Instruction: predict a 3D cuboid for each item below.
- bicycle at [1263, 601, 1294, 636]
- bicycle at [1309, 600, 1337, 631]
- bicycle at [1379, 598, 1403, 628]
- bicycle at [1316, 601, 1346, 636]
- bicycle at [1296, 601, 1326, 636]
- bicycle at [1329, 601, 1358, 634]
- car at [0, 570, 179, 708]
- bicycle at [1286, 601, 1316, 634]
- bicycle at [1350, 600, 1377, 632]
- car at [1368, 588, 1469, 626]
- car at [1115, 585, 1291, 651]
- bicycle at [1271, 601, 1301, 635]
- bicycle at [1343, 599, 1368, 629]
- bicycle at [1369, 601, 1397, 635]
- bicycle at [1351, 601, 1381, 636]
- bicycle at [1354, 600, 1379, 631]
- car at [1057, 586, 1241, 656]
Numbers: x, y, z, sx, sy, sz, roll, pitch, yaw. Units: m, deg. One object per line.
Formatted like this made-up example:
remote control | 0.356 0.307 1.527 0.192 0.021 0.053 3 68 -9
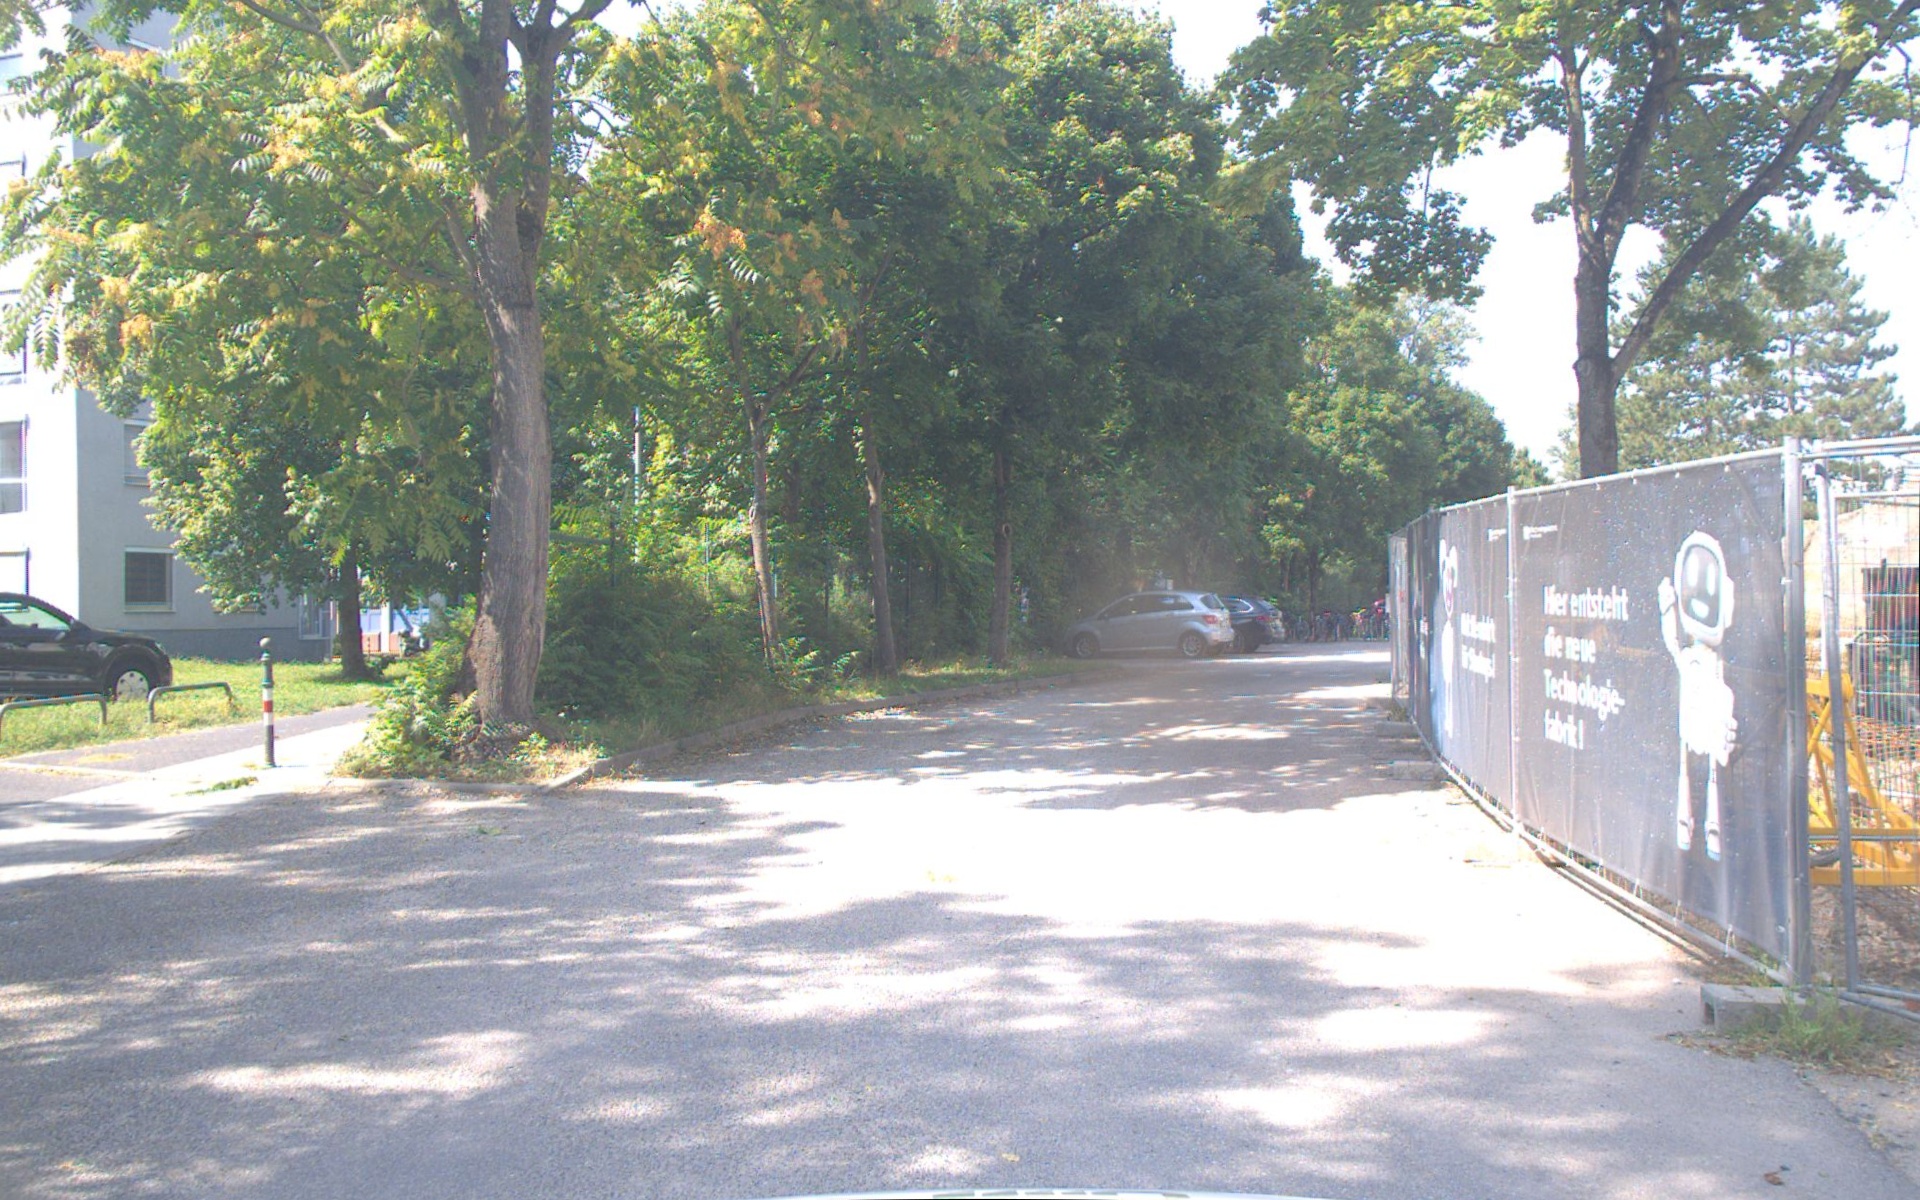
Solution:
bicycle | 10.686 0.612 55.437 0.489 1.127 1.797 0 0 29
bicycle | 13.348 0.568 60.785 0.489 1.127 1.797 0 0 29
bicycle | 16.875 0.506 64.719 0.489 1.127 1.797 0 0 29
bicycle | 12.260 0.589 54.589 0.489 1.127 1.797 0 0 29
bicycle | 11.742 0.617 55.306 0.489 1.127 1.797 0 0 29
bicycle | 13.230 0.601 57.048 0.489 1.127 1.797 0 0 29
car | -11.398 0.447 19.271 1.670 1.554 3.905 -1 0 30
bicycle | 11.814 0.598 57.264 0.489 1.127 1.797 0 0 29
bicycle | 14.576 0.572 59.716 0.489 1.127 1.797 0 0 29
car | 19.343 0.289 69.769 3.906 1.537 1.799 0 0 23
car | 6.250 0.435 42.534 4.065 1.641 1.999 0 0 25
bicycle | 11.327 0.612 57.475 0.489 1.127 1.797 0 0 29
bicycle | 15.532 0.541 64.902 0.489 1.127 1.797 0 0 29
bicycle | 14.317 0.596 55.966 0.489 1.127 1.797 0 0 29
bicycle | 13.159 0.591 53.571 0.489 1.127 1.797 0 0 29
bicycle | 15.183 0.568 61.744 0.489 1.127 1.797 0 0 29
car | 4.625 0.478 40.407 4.065 1.641 1.999 0 0 25
